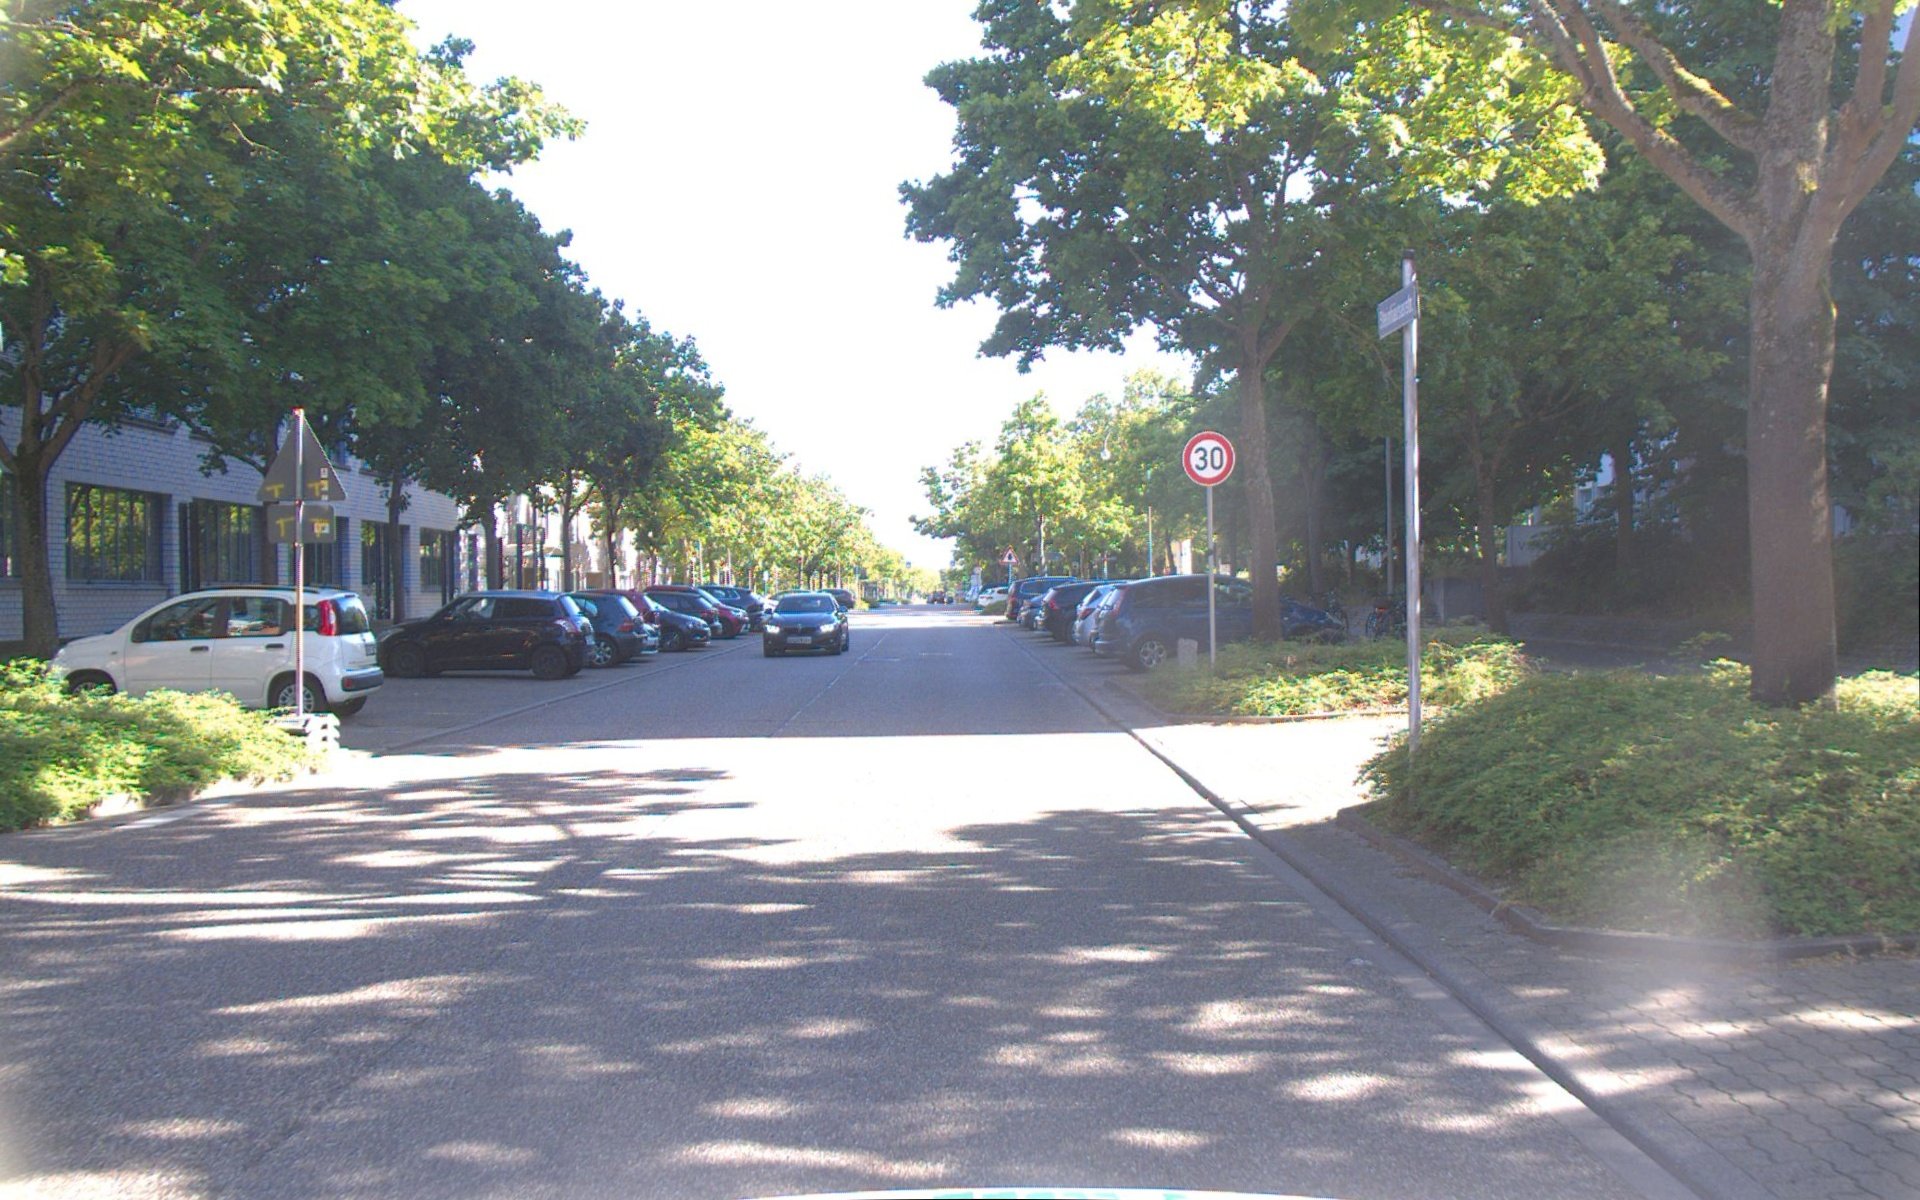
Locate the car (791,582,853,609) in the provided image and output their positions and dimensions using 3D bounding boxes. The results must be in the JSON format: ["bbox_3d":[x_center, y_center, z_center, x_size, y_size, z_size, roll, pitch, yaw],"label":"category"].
[{"bbox_3d":[-9.153,-0.310,110.000,3.906,1.713,2.000,-2,0,-1],"label":"car"}]

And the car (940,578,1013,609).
[{"bbox_3d":[0.915,-0.389,93.622,3.910,1.653,1.998,-1,0,-6],"label":"car"}]

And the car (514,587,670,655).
[{"bbox_3d":[-8.535,0.476,38.565,3.352,1.488,1.694,0,1,-6],"label":"car"}]

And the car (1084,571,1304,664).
[{"bbox_3d":[4.337,0.316,31.064,3.804,1.553,1.895,-2,0,-1],"label":"car"}]

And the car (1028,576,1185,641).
[{"bbox_3d":[3.942,0.211,44.685,3.968,1.618,1.547,-1,1,-8],"label":"car"}]

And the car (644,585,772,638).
[{"bbox_3d":[-8.379,0.388,55.110,3.904,1.614,1.765,-2,-1,2],"label":"car"}]

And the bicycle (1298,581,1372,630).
[{"bbox_3d":[8.617,0.120,38.061,0.377,1.097,1.759,-1,1,-42],"label":"bicycle"}]

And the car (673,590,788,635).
[{"bbox_3d":[-8.032,0.420,58.121,3.814,1.489,1.857,-1,0,-2],"label":"car"}]

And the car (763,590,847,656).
[{"bbox_3d":[-3.596,0.501,38.974,1.777,1.440,4.105,-1,1,-3],"label":"car"}]

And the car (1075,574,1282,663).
[{"bbox_3d":[4.114,0.331,31.588,3.663,1.492,1.911,-3,0,0],"label":"car"}]

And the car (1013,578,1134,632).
[{"bbox_3d":[3.807,0.153,55.898,3.818,1.685,1.856,-2,0,-6],"label":"car"}]

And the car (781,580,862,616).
[{"bbox_3d":[-7.105,-0.122,85.005,3.904,1.682,1.861,-2,1,2],"label":"car"}]

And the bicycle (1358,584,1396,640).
[{"bbox_3d":[8.231,0.219,32.708,0.371,1.065,1.886,-3,0,5],"label":"bicycle"}]

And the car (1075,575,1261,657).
[{"bbox_3d":[4.268,0.318,34.290,3.562,1.492,1.633,-3,0,-2],"label":"car"}]

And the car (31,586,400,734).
[{"bbox_3d":[-8.495,0.683,19.104,3.509,1.576,1.636,-1,-2,-3],"label":"car"}]

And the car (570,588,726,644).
[{"bbox_3d":[-8.195,0.411,43.671,3.910,1.431,1.603,0,0,-7],"label":"car"}]

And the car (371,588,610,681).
[{"bbox_3d":[-8.081,0.573,28.718,3.657,1.489,1.676,-1,0,-2],"label":"car"}]

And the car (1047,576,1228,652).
[{"bbox_3d":[3.906,0.296,36.788,3.678,1.474,1.878,-3,0,-4],"label":"car"}]

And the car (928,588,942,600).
[{"bbox_3d":[-3.515,-0.909,234.442,1.894,1.625,4.365,-1,1,-1],"label":"car"}]

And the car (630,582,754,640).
[{"bbox_3d":[-8.219,0.337,50.926,3.468,1.686,1.761,-1,0,1],"label":"car"}]

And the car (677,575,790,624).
[{"bbox_3d":[-8.538,-0.024,62.578,3.904,1.682,1.861,-2,1,2],"label":"car"}]

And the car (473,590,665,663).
[{"bbox_3d":[-8.414,0.555,35.824,3.789,1.482,1.753,0,2,-4],"label":"car"}]

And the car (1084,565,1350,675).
[{"bbox_3d":[4.339,0.318,28.368,4.183,1.662,1.857,-2,0,-3],"label":"car"}]

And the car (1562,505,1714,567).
[{"bbox_3d":[21.279,-1.992,52.000,3.992,1.814,1.998,0,0,-5],"label":"car"}]

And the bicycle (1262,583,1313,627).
[{"bbox_3d":[8.320,0.122,42.051,0.373,1.097,1.776,-1,0,-21],"label":"bicycle"}]

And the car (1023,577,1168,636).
[{"bbox_3d":[3.884,0.180,47.775,3.964,1.517,1.549,-3,0,-4],"label":"car"}]

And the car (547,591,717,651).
[{"bbox_3d":[-8.089,0.503,41.051,3.907,1.437,1.665,0,0,-3],"label":"car"}]

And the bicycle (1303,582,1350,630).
[{"bbox_3d":[8.708,0.135,39.352,0.372,1.097,1.782,-1,0,-12],"label":"bicycle"}]

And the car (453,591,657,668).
[{"bbox_3d":[-8.120,0.579,33.379,3.685,1.470,1.631,0,0,-1],"label":"car"}]

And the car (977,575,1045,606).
[{"bbox_3d":[3.074,-0.574,100.104,3.910,1.823,1.998,-1,0,-6],"label":"car"}]

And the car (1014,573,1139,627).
[{"bbox_3d":[3.923,0.001,56.005,3.964,1.609,1.640,-3,0,-4],"label":"car"}]

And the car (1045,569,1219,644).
[{"bbox_3d":[4.268,0.142,41.381,4.160,1.581,1.921,-4,0,4],"label":"car"}]

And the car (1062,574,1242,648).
[{"bbox_3d":[4.302,0.241,37.536,3.787,1.493,1.966,-2,0,-1],"label":"car"}]
